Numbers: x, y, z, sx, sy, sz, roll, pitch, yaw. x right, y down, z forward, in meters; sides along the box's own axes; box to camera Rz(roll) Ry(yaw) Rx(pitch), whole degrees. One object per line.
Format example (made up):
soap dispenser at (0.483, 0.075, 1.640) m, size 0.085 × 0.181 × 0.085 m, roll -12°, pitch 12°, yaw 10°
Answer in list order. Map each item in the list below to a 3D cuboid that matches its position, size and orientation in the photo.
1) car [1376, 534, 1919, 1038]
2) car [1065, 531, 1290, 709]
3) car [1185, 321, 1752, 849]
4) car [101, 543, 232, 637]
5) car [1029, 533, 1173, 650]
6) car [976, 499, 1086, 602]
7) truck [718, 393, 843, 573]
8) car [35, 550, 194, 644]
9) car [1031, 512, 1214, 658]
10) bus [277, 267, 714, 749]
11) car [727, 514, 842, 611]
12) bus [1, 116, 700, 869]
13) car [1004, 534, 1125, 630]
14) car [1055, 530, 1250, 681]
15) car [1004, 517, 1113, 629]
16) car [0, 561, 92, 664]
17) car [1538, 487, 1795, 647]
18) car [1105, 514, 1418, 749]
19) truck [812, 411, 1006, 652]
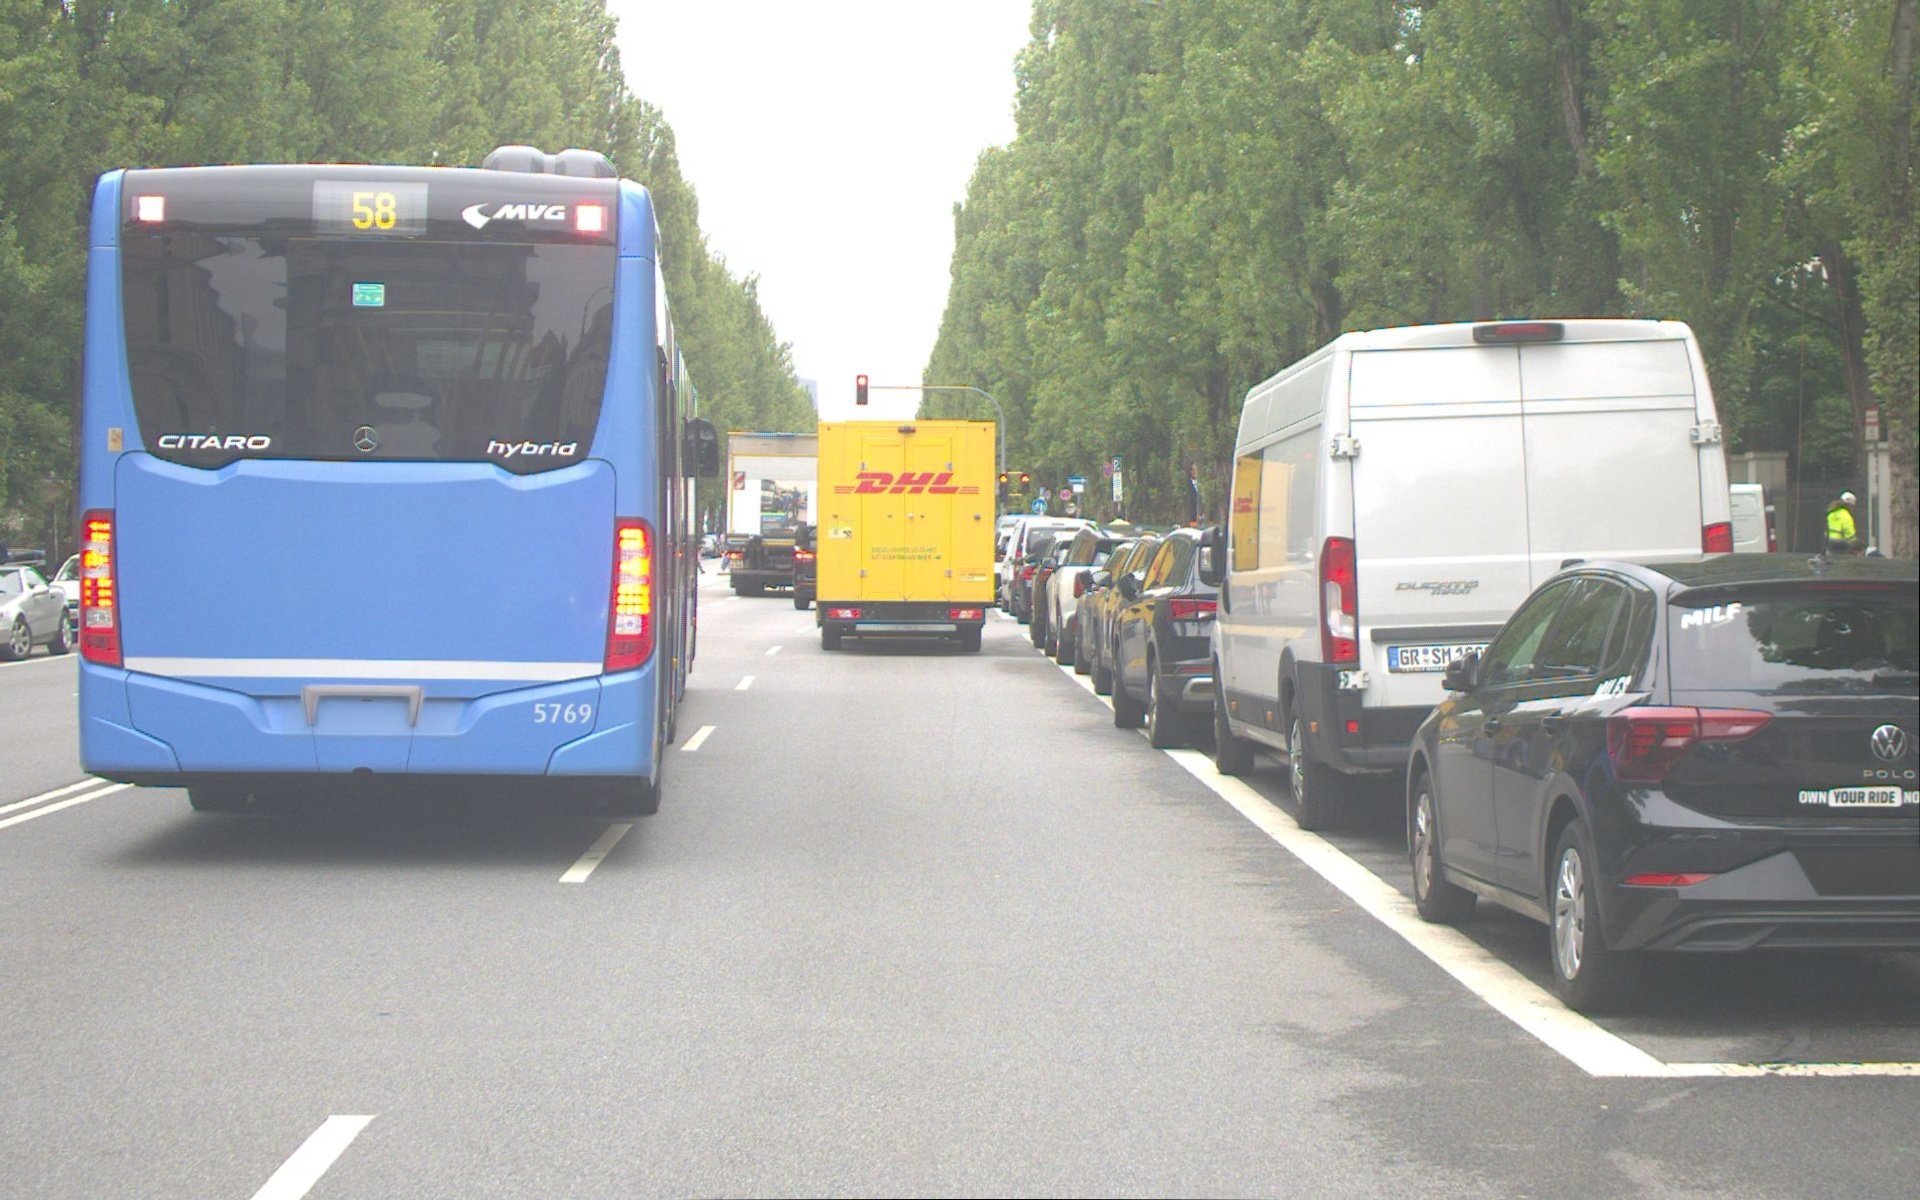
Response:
car at (2.667, 0.524, 12.140) m, size 1.754 × 1.445 × 4.000 m, roll 2°, pitch 1°, yaw -2°
car at (1.917, 0.132, 31.346) m, size 1.651 × 1.498 × 4.114 m, roll 1°, pitch 1°, yaw -2°
car at (2.611, -0.132, 19.399) m, size 2.074 × 2.470 × 6.284 m, roll 1°, pitch 1°, yaw -2°
car at (-13.871, -0.199, 60.256) m, size 1.742 × 1.513 × 4.119 m, roll -2°, pitch 1°, yaw -7°
car at (1.845, -0.144, 46.138) m, size 1.725 × 1.490 × 4.324 m, roll 0°, pitch 1°, yaw 0°
car at (1.415, -1.039, 70.690) m, size 2.052 × 2.007 × 5.693 m, roll -1°, pitch 1°, yaw -1°
truck at (-4.228, -2.668, 80.538) m, size 2.715 × 3.951 × 9.219 m, roll -1°, pitch 1°, yaw -3°
car at (-13.663, -0.079, 55.733) m, size 1.685 × 1.408 × 4.005 m, roll -2°, pitch 1°, yaw -2°
car at (1.851, -0.205, 40.343) m, size 1.780 × 1.576 × 4.147 m, roll 2°, pitch 1°, yaw -2°
bus at (-3.528, -0.725, 28.461) m, size 2.871 × 3.292 × 9.791 m, roll 0°, pitch 1°, yaw -4°
car at (-3.361, -0.749, 66.535) m, size 2.035 × 1.795 × 4.507 m, roll -1°, pitch 1°, yaw -1°
bus at (-2.943, -0.546, 19.236) m, size 2.855 × 3.202 × 9.061 m, roll 0°, pitch 1°, yaw -4°
car at (1.706, -0.327, 57.257) m, size 1.863 × 1.546 × 4.000 m, roll 0°, pitch 1°, yaw 0°
car at (1.955, 0.020, 35.877) m, size 1.633 × 1.441 × 4.149 m, roll 2°, pitch 1°, yaw -2°
car at (1.765, -0.523, 62.771) m, size 1.806 × 1.969 × 4.237 m, roll 0°, pitch 1°, yaw -1°
car at (-13.183, 0.170, 47.049) m, size 1.580 × 1.300 × 4.029 m, roll -2°, pitch 1°, yaw 0°
car at (8.886, -0.440, 43.717) m, size 1.993 × 1.919 × 5.325 m, roll 0°, pitch 1°, yaw -2°
car at (2.143, 0.178, 25.523) m, size 1.820 × 1.585 × 4.223 m, roll 0°, pitch 1°, yaw -2°
truck at (-0.722, -0.893, 45.033) m, size 2.327 × 2.888 × 7.334 m, roll 0°, pitch 1°, yaw -2°
